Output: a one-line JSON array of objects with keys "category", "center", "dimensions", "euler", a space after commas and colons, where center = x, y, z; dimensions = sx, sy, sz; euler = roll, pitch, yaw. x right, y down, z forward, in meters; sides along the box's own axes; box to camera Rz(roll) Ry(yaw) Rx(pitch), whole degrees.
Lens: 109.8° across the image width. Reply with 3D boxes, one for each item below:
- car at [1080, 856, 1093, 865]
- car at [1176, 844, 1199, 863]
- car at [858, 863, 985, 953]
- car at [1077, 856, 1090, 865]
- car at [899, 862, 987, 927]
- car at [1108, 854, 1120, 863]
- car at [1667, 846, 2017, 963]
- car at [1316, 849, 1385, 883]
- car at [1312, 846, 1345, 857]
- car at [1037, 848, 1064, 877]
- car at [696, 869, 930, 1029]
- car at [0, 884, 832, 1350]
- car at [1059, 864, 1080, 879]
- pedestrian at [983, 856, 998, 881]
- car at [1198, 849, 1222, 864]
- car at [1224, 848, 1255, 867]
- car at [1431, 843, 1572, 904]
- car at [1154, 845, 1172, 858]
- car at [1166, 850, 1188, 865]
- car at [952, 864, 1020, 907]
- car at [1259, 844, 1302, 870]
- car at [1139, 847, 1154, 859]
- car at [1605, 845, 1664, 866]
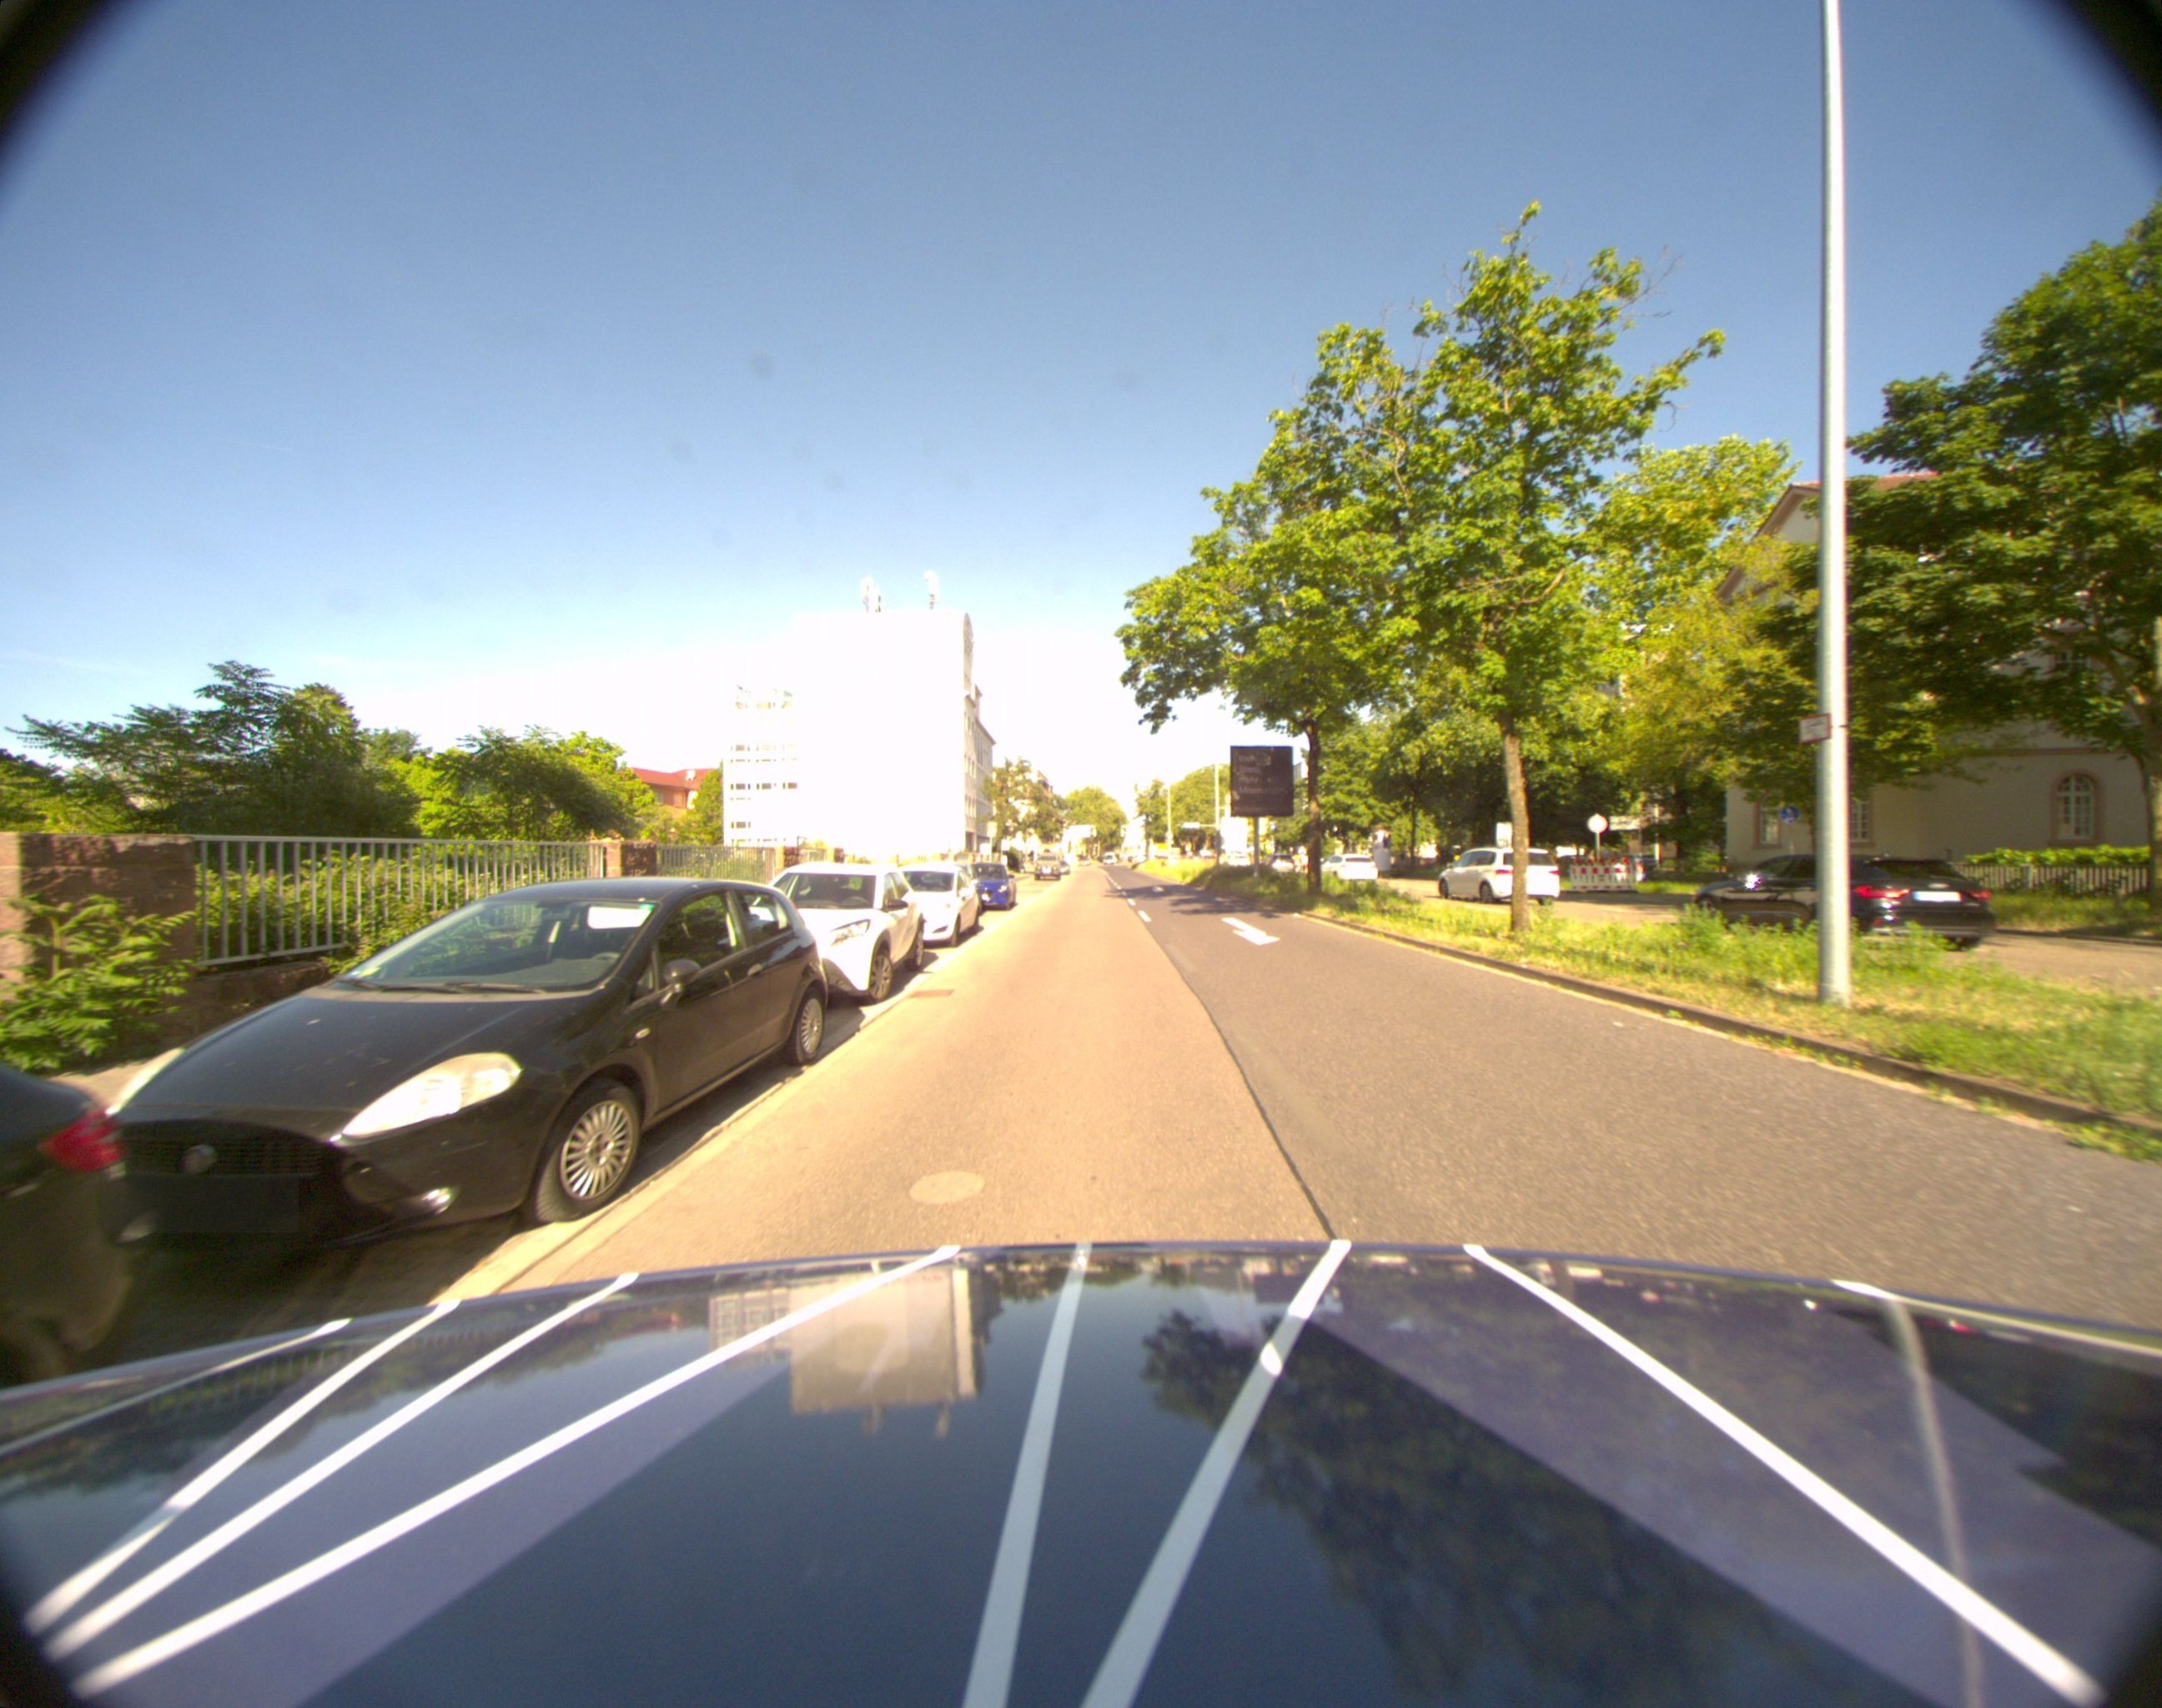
[{"category": "car", "center": [1.079, 1.279, 149.287], "dimensions": [1.882, 1.511, 4.000], "euler": [-2, 3, 8]}, {"category": "car", "center": [10.451, -0.040, 74.915], "dimensions": [1.757, 1.609, 4.321], "euler": [-2, 3, 1]}, {"category": "car", "center": [-2.950, 0.940, 14.742], "dimensions": [1.612, 1.437, 3.658], "euler": [2, 0, 0]}, {"category": "car", "center": [0.529, 1.194, 143.489], "dimensions": [1.882, 1.510, 4.002], "euler": [-2, 1, 8]}, {"category": "car", "center": [-3.520, 0.975, 20.028], "dimensions": [1.672, 1.451, 3.985], "euler": [2, 0, -2]}, {"category": "car", "center": [6.315, 0.829, 145.579], "dimensions": [1.882, 1.511, 4.000], "euler": [-2, 3, 8]}, {"category": "car", "center": [11.867, 0.660, 12.343], "dimensions": [1.799, 1.510, 4.088], "euler": [1, 1, 6]}, {"category": "car", "center": [12.848, 0.528, 36.568], "dimensions": [1.843, 1.510, 4.667], "euler": [-1, 0, 2]}, {"category": "car", "center": [39.334, -0.398, 120.988], "dimensions": [4.704, 1.609, 1.919], "euler": [-1, 3, 10]}, {"category": "car", "center": [-2.172, 0.581, 54.719], "dimensions": [1.664, 2.002, 4.776], "euler": [0, 1, 1]}, {"category": "car", "center": [-3.030, 0.977, 9.405], "dimensions": [1.672, 1.510, 3.660], "euler": [-1, 0, -2]}, {"category": "car", "center": [-2.919, 0.948, 4.401], "dimensions": [1.672, 1.385, 3.775], "euler": [-1, 0, 0]}, {"category": "car", "center": [-1.081, 1.743, 75.003], "dimensions": [1.641, 1.439, 4.158], "euler": [-1, -1, 5]}, {"category": "pedestrian", "center": [-5.759, 0.924, 48.509], "dimensions": [0.745, 1.574, 0.897], "euler": [-2, 1, 1]}, {"category": "car", "center": [13.696, 0.264, 80.959], "dimensions": [1.800, 1.510, 4.444], "euler": [-1, 1, 0]}, {"category": "car", "center": [13.675, 0.281, 65.935], "dimensions": [1.800, 1.510, 4.258], "euler": [-1, 0, 0]}, {"category": "car", "center": [12.231, 0.510, 22.478], "dimensions": [1.905, 1.616, 4.538], "euler": [0, 0, 4]}, {"category": "car", "center": [10.313, -0.362, 96.267], "dimensions": [1.800, 1.510, 4.346], "euler": [-2, 1, 0]}, {"category": "car", "center": [10.381, 0.338, 82.585], "dimensions": [1.800, 1.510, 4.205], "euler": [-1, 0, 0]}, {"category": "car", "center": [-2.977, 0.966, 24.551], "dimensions": [1.672, 1.175, 3.900], "euler": [2, 0, 0]}, {"category": "car", "center": [13.315, 0.177, 50.926], "dimensions": [1.800, 1.510, 4.257], "euler": [-2, 2, 1]}, {"category": "car", "center": [11.352, -0.116, 132.317], "dimensions": [2.239, 2.016, 5.017], "euler": [-1, 0, 0]}, {"category": "car", "center": [46.992, 0.098, 64.603], "dimensions": [1.646, 1.484, 4.682], "euler": [-2, 3, 1]}]
